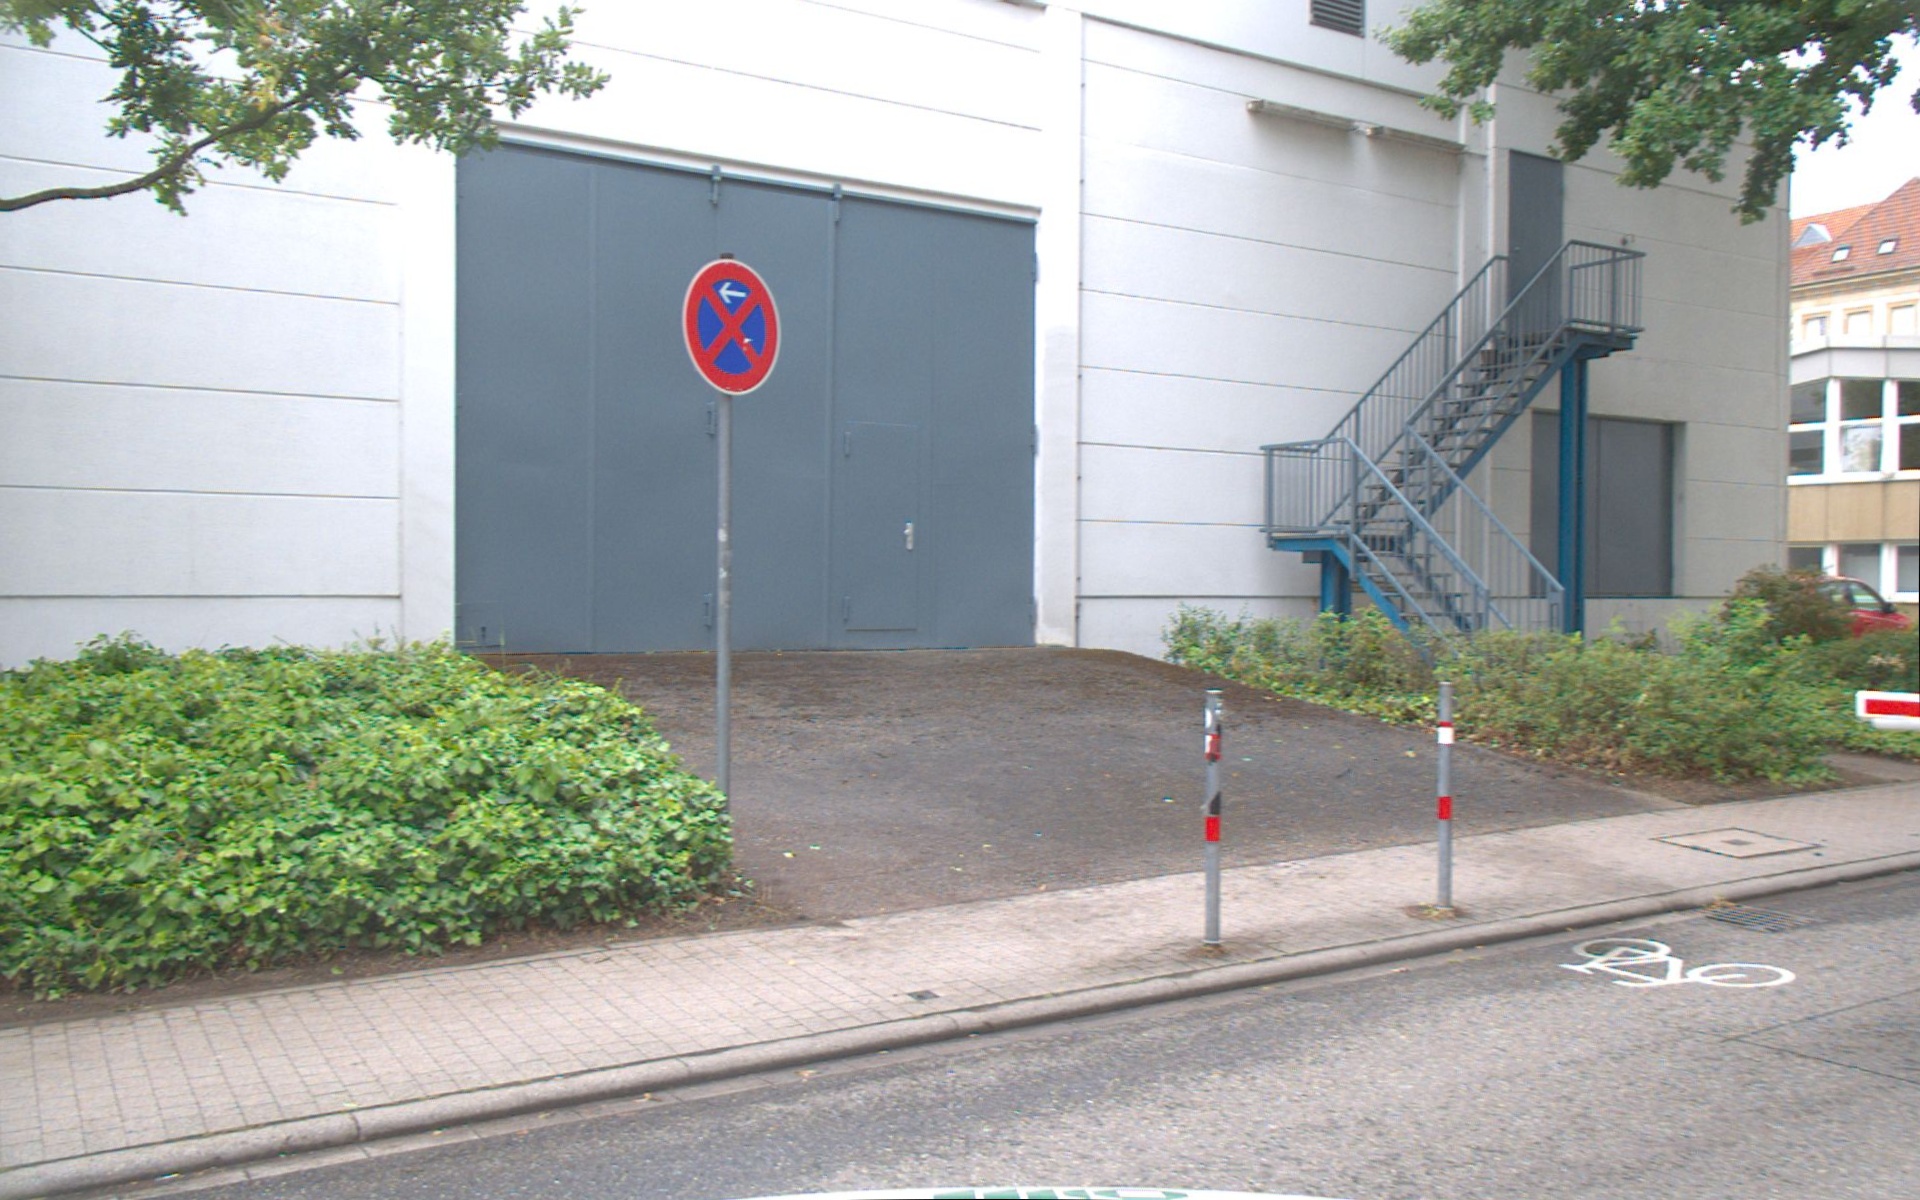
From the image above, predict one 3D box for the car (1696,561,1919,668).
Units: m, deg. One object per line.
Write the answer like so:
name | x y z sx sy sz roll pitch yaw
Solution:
car | 13.551 0.179 25.952 3.950 1.556 1.848 -1 1 -33
